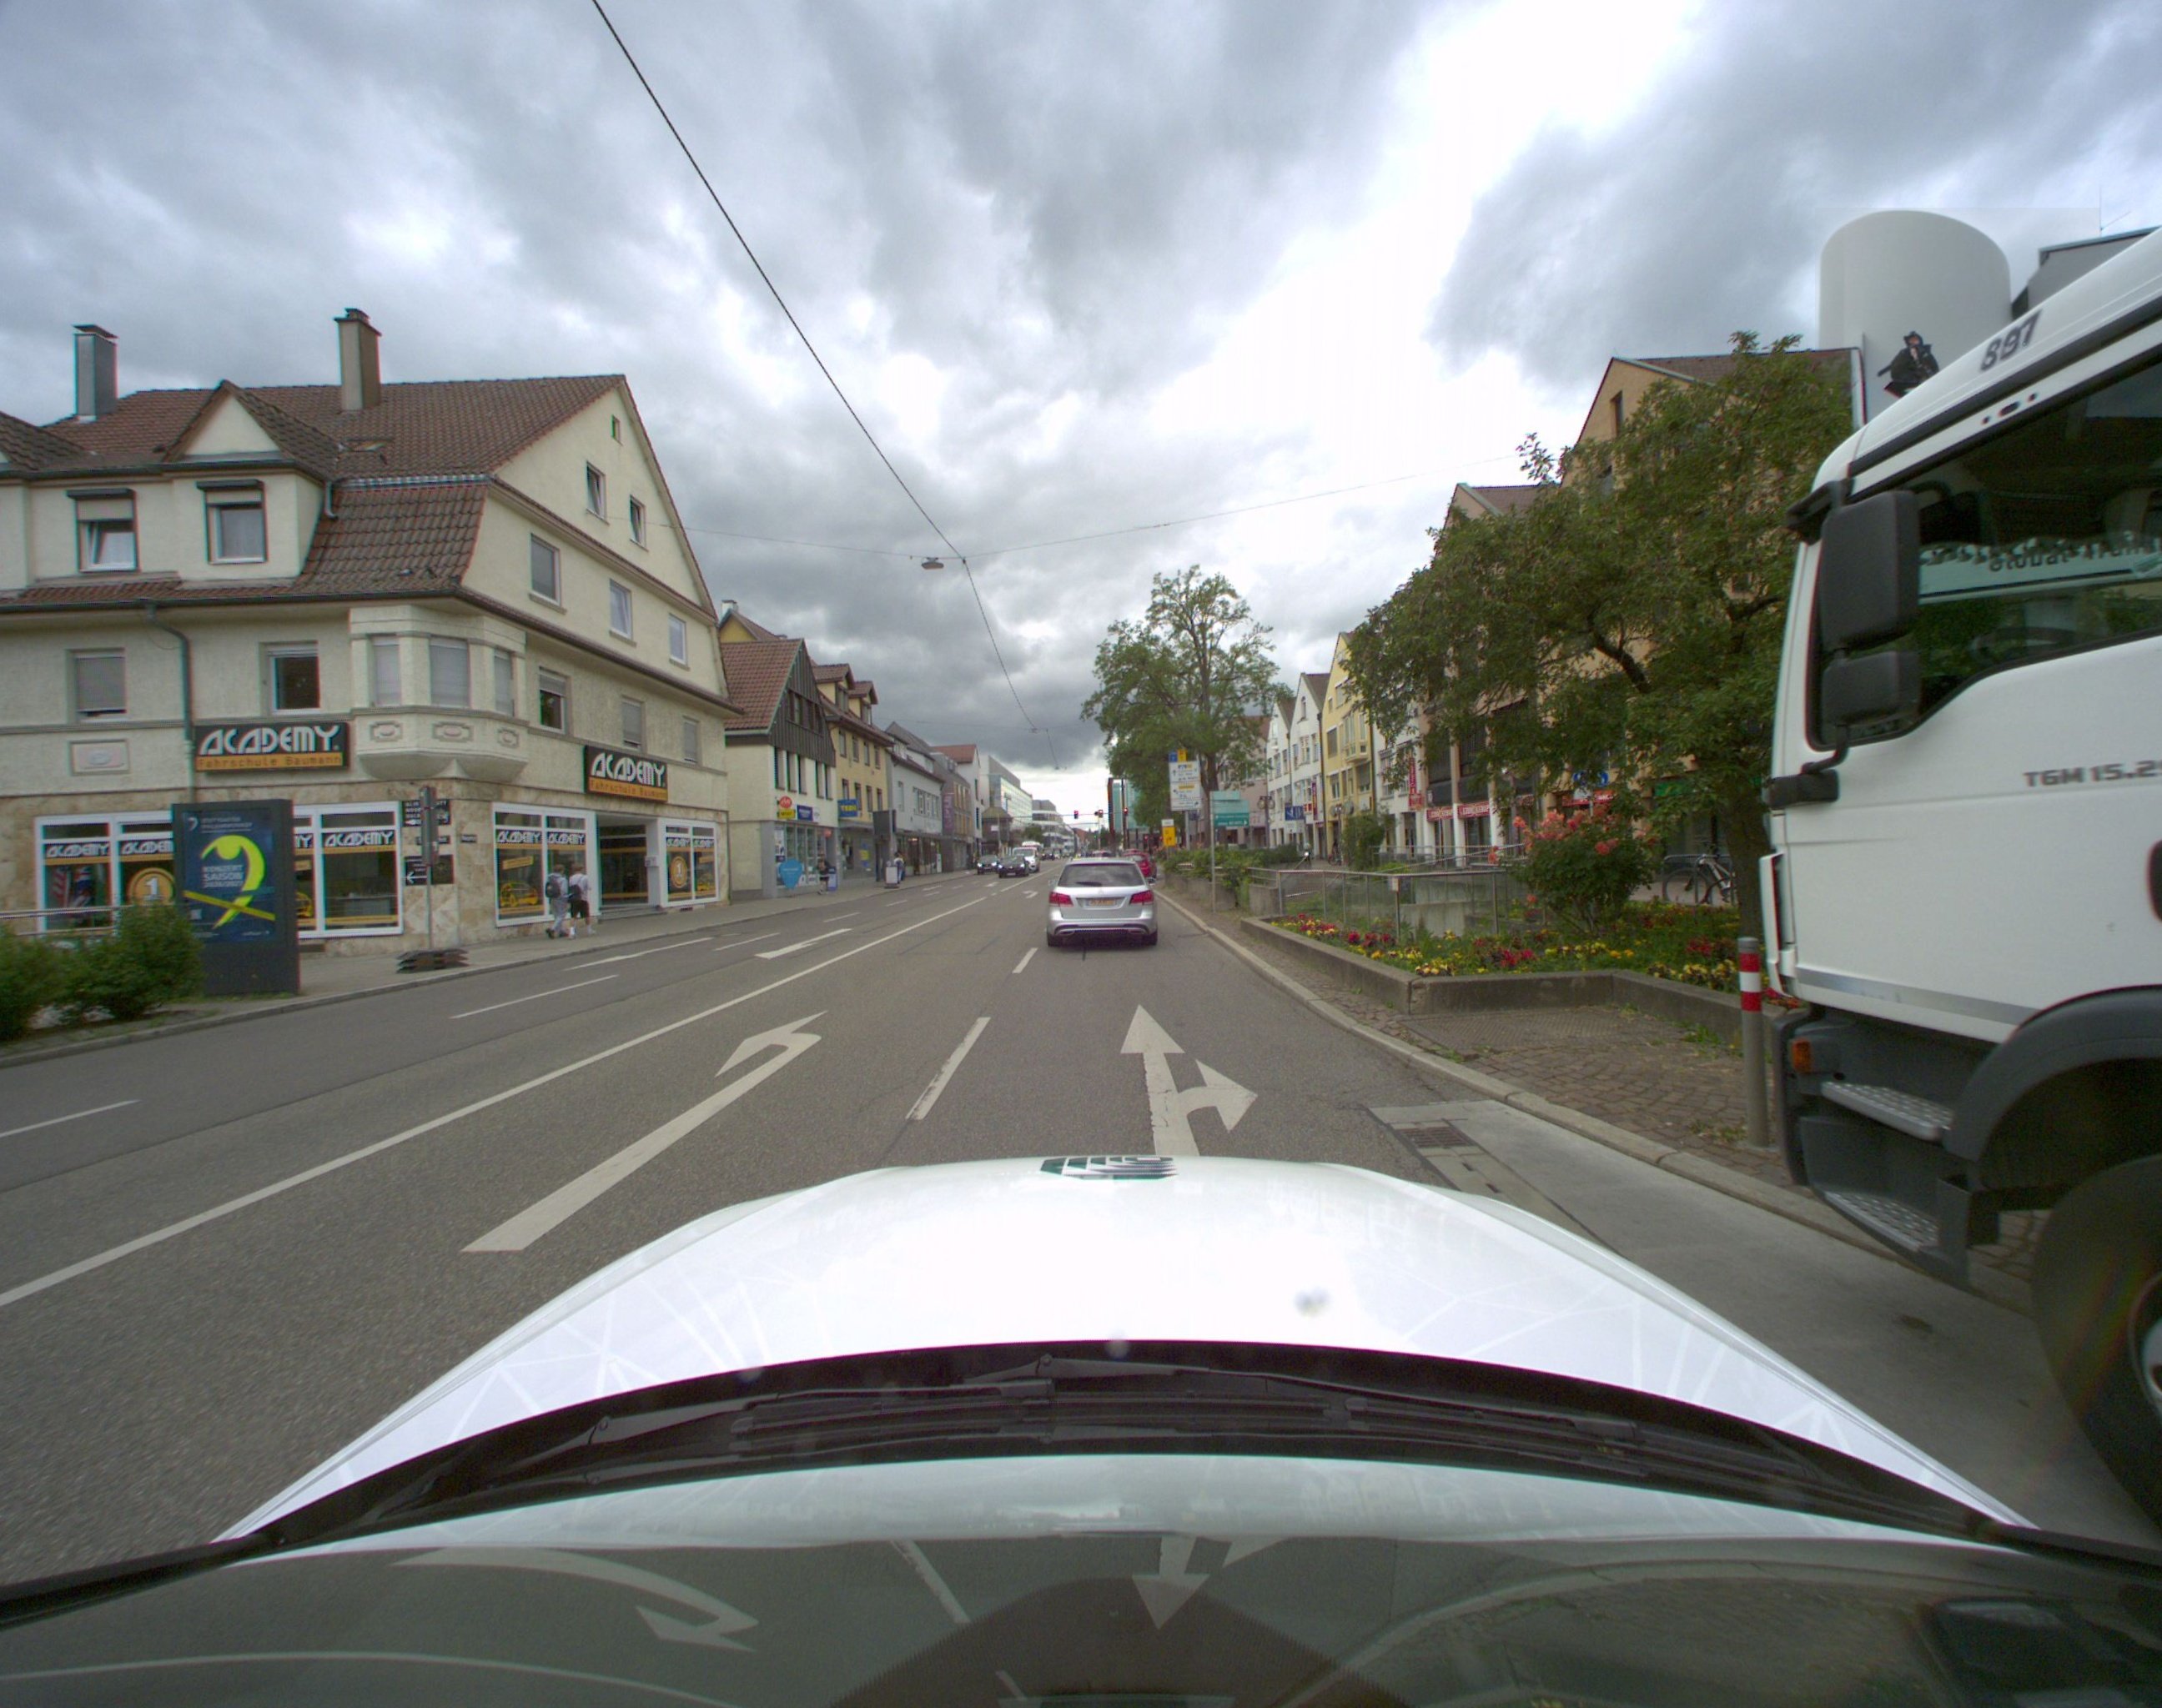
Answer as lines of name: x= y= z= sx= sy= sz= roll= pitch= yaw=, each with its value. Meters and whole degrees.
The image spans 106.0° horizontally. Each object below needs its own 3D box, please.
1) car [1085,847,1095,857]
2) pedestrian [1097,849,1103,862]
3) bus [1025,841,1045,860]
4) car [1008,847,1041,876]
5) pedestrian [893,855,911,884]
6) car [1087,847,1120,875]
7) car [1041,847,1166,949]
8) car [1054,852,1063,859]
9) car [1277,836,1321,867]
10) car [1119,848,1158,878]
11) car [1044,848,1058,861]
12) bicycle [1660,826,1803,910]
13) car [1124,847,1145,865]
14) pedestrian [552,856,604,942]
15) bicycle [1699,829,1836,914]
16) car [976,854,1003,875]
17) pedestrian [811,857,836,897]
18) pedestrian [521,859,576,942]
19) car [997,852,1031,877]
car: x=1.962 y=-0.342 z=170.540 sx=1.986 sy=2.013 sz=4.001 roll=-3 pitch=0 yaw=1
pedestrian: x=2.327 y=0.169 z=98.599 sx=0.612 sy=1.634 sz=0.586 roll=0 pitch=0 yaw=-8
bus: x=-7.796 y=-0.582 z=139.629 sx=2.765 sy=3.165 sz=5.935 roll=-3 pitch=0 yaw=2
car: x=-4.252 y=0.541 z=62.181 sx=1.954 sy=1.960 sz=5.141 roll=-4 pitch=0 yaw=1
pedestrian: x=-10.324 y=0.909 z=46.977 sx=0.815 sy=1.634 sz=0.979 roll=-1 pitch=0 yaw=-4
car: x=1.474 y=0.408 z=52.984 sx=1.986 sy=1.684 sz=4.002 roll=-3 pitch=0 yaw=2
car: x=0.327 y=0.679 z=14.529 sx=1.868 sy=1.506 sz=3.999 roll=-2 pitch=0 yaw=-1
car: x=-4.377 y=0.290 z=158.534 sx=1.569 sy=1.244 sz=3.608 roll=-3 pitch=0 yaw=2
car: x=14.299 y=-0.156 z=53.705 sx=1.860 sy=1.864 sz=4.001 roll=-3 pitch=0 yaw=1
car: x=3.117 y=0.458 z=43.469 sx=1.744 sy=1.521 sz=4.009 roll=-2 pitch=0 yaw=8
car: x=-5.063 y=0.094 z=137.960 sx=1.986 sy=2.013 sz=4.002 roll=-3 pitch=0 yaw=2
bicycle: x=11.270 y=0.230 z=14.157 sx=1.812 sy=1.326 sz=0.842 roll=-3 pitch=0 yaw=-3
car: x=5.455 y=0.167 z=83.479 sx=1.986 sy=1.684 sz=4.002 roll=-3 pitch=0 yaw=2
pedestrian: x=-11.202 y=0.984 z=18.148 sx=0.631 sy=1.824 sz=0.681 roll=-3 pitch=0 yaw=1
bicycle: x=11.162 y=0.274 z=13.262 sx=1.670 sy=1.259 sz=0.669 roll=-3 pitch=0 yaw=-3
car: x=-7.430 y=0.829 z=66.276 sx=1.611 sy=1.523 sz=3.508 roll=-4 pitch=0 yaw=1
pedestrian: x=-11.470 y=1.025 z=36.320 sx=0.865 sy=1.746 sz=0.805 roll=0 pitch=0 yaw=-4
pedestrian: x=-11.903 y=1.022 z=18.231 sx=0.685 sy=1.761 sz=0.681 roll=-3 pitch=0 yaw=1
car: x=-4.240 y=0.641 z=52.112 sx=1.611 sy=1.428 sz=3.924 roll=-3 pitch=0 yaw=2
